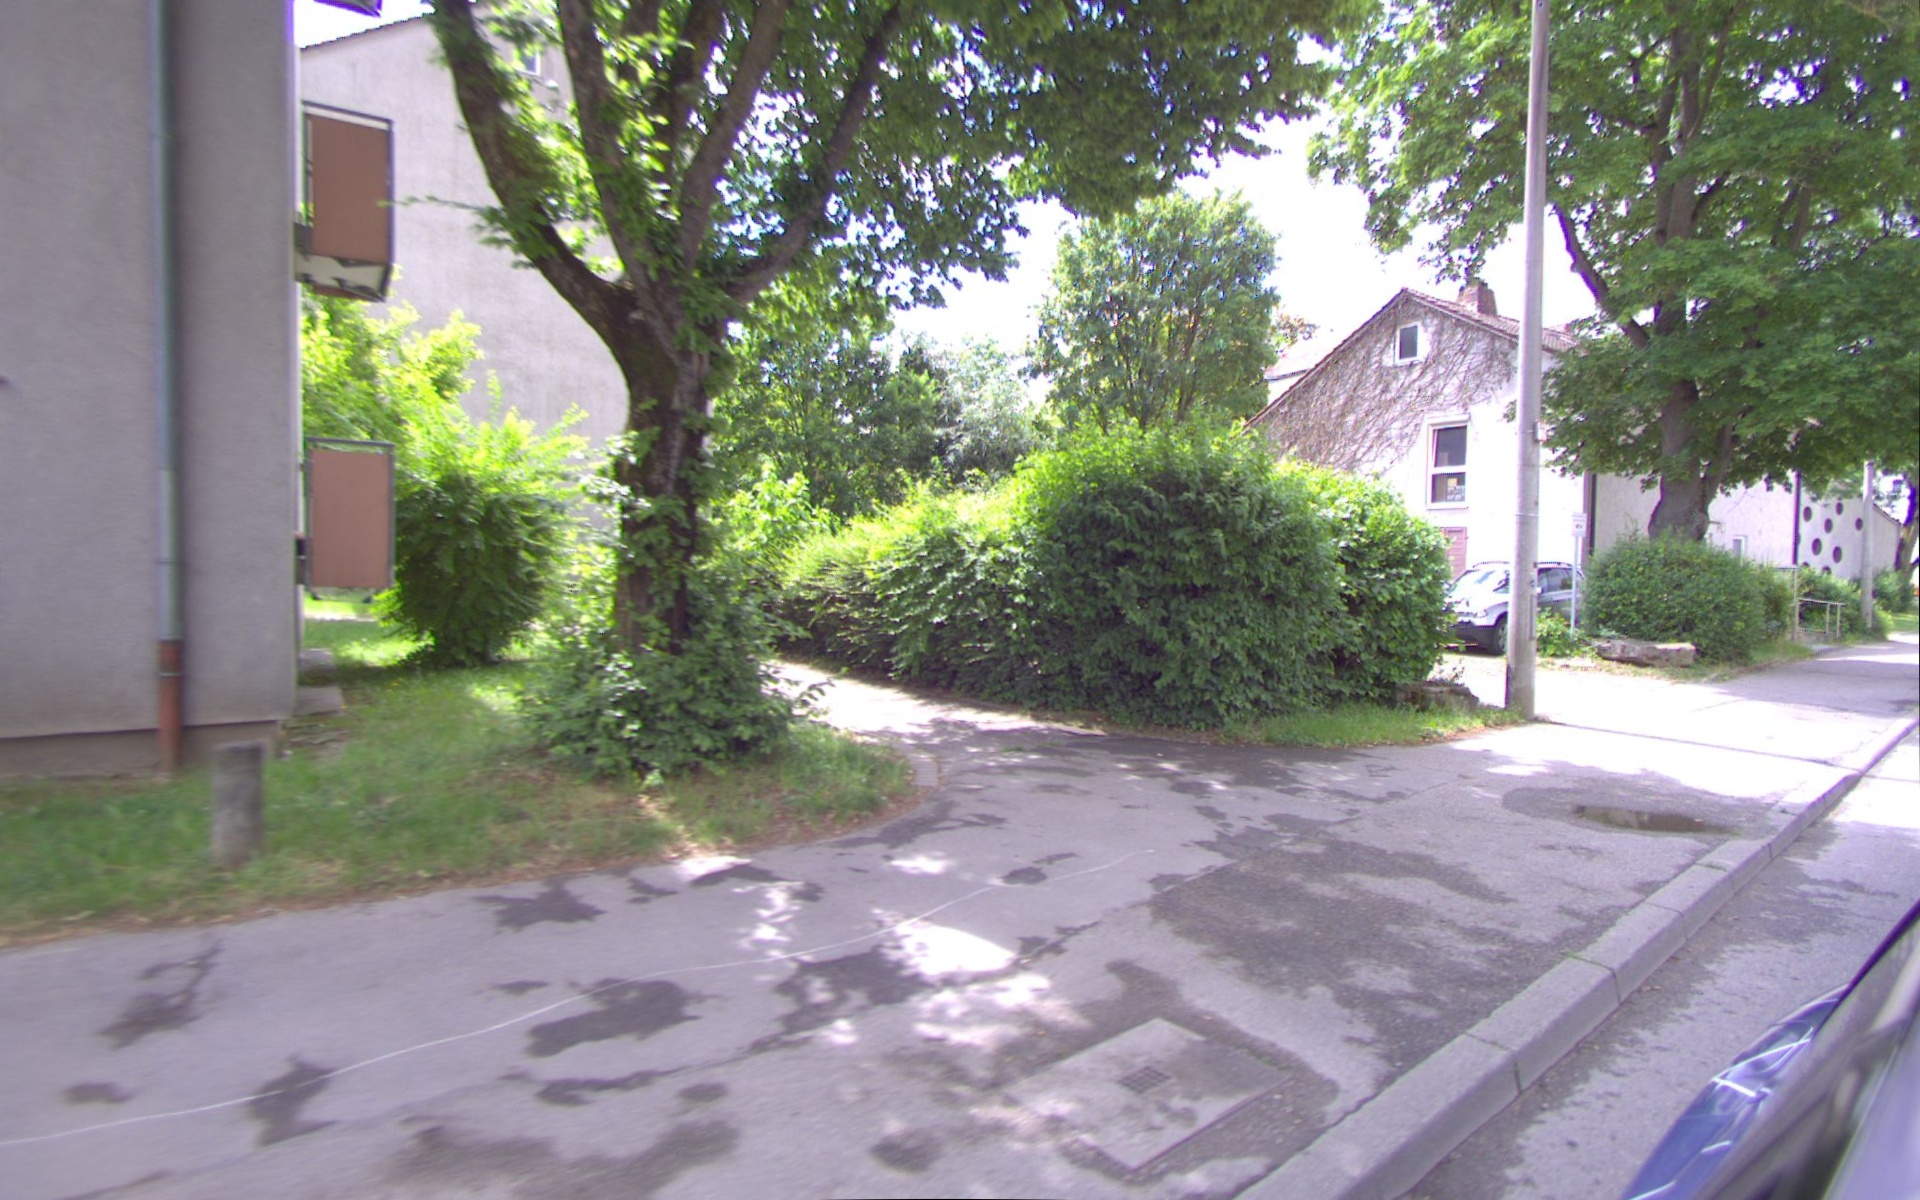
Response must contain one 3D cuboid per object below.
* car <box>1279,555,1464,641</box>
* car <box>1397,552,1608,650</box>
[{"bbox_3d":[8.651,-0.093,21.176,3.926,1.602,1.817,-1,3,-37],"label":"car"},{"bbox_3d":[10.354,-0.028,19.262,3.922,1.669,1.819,0,3,-33],"label":"car"}]
